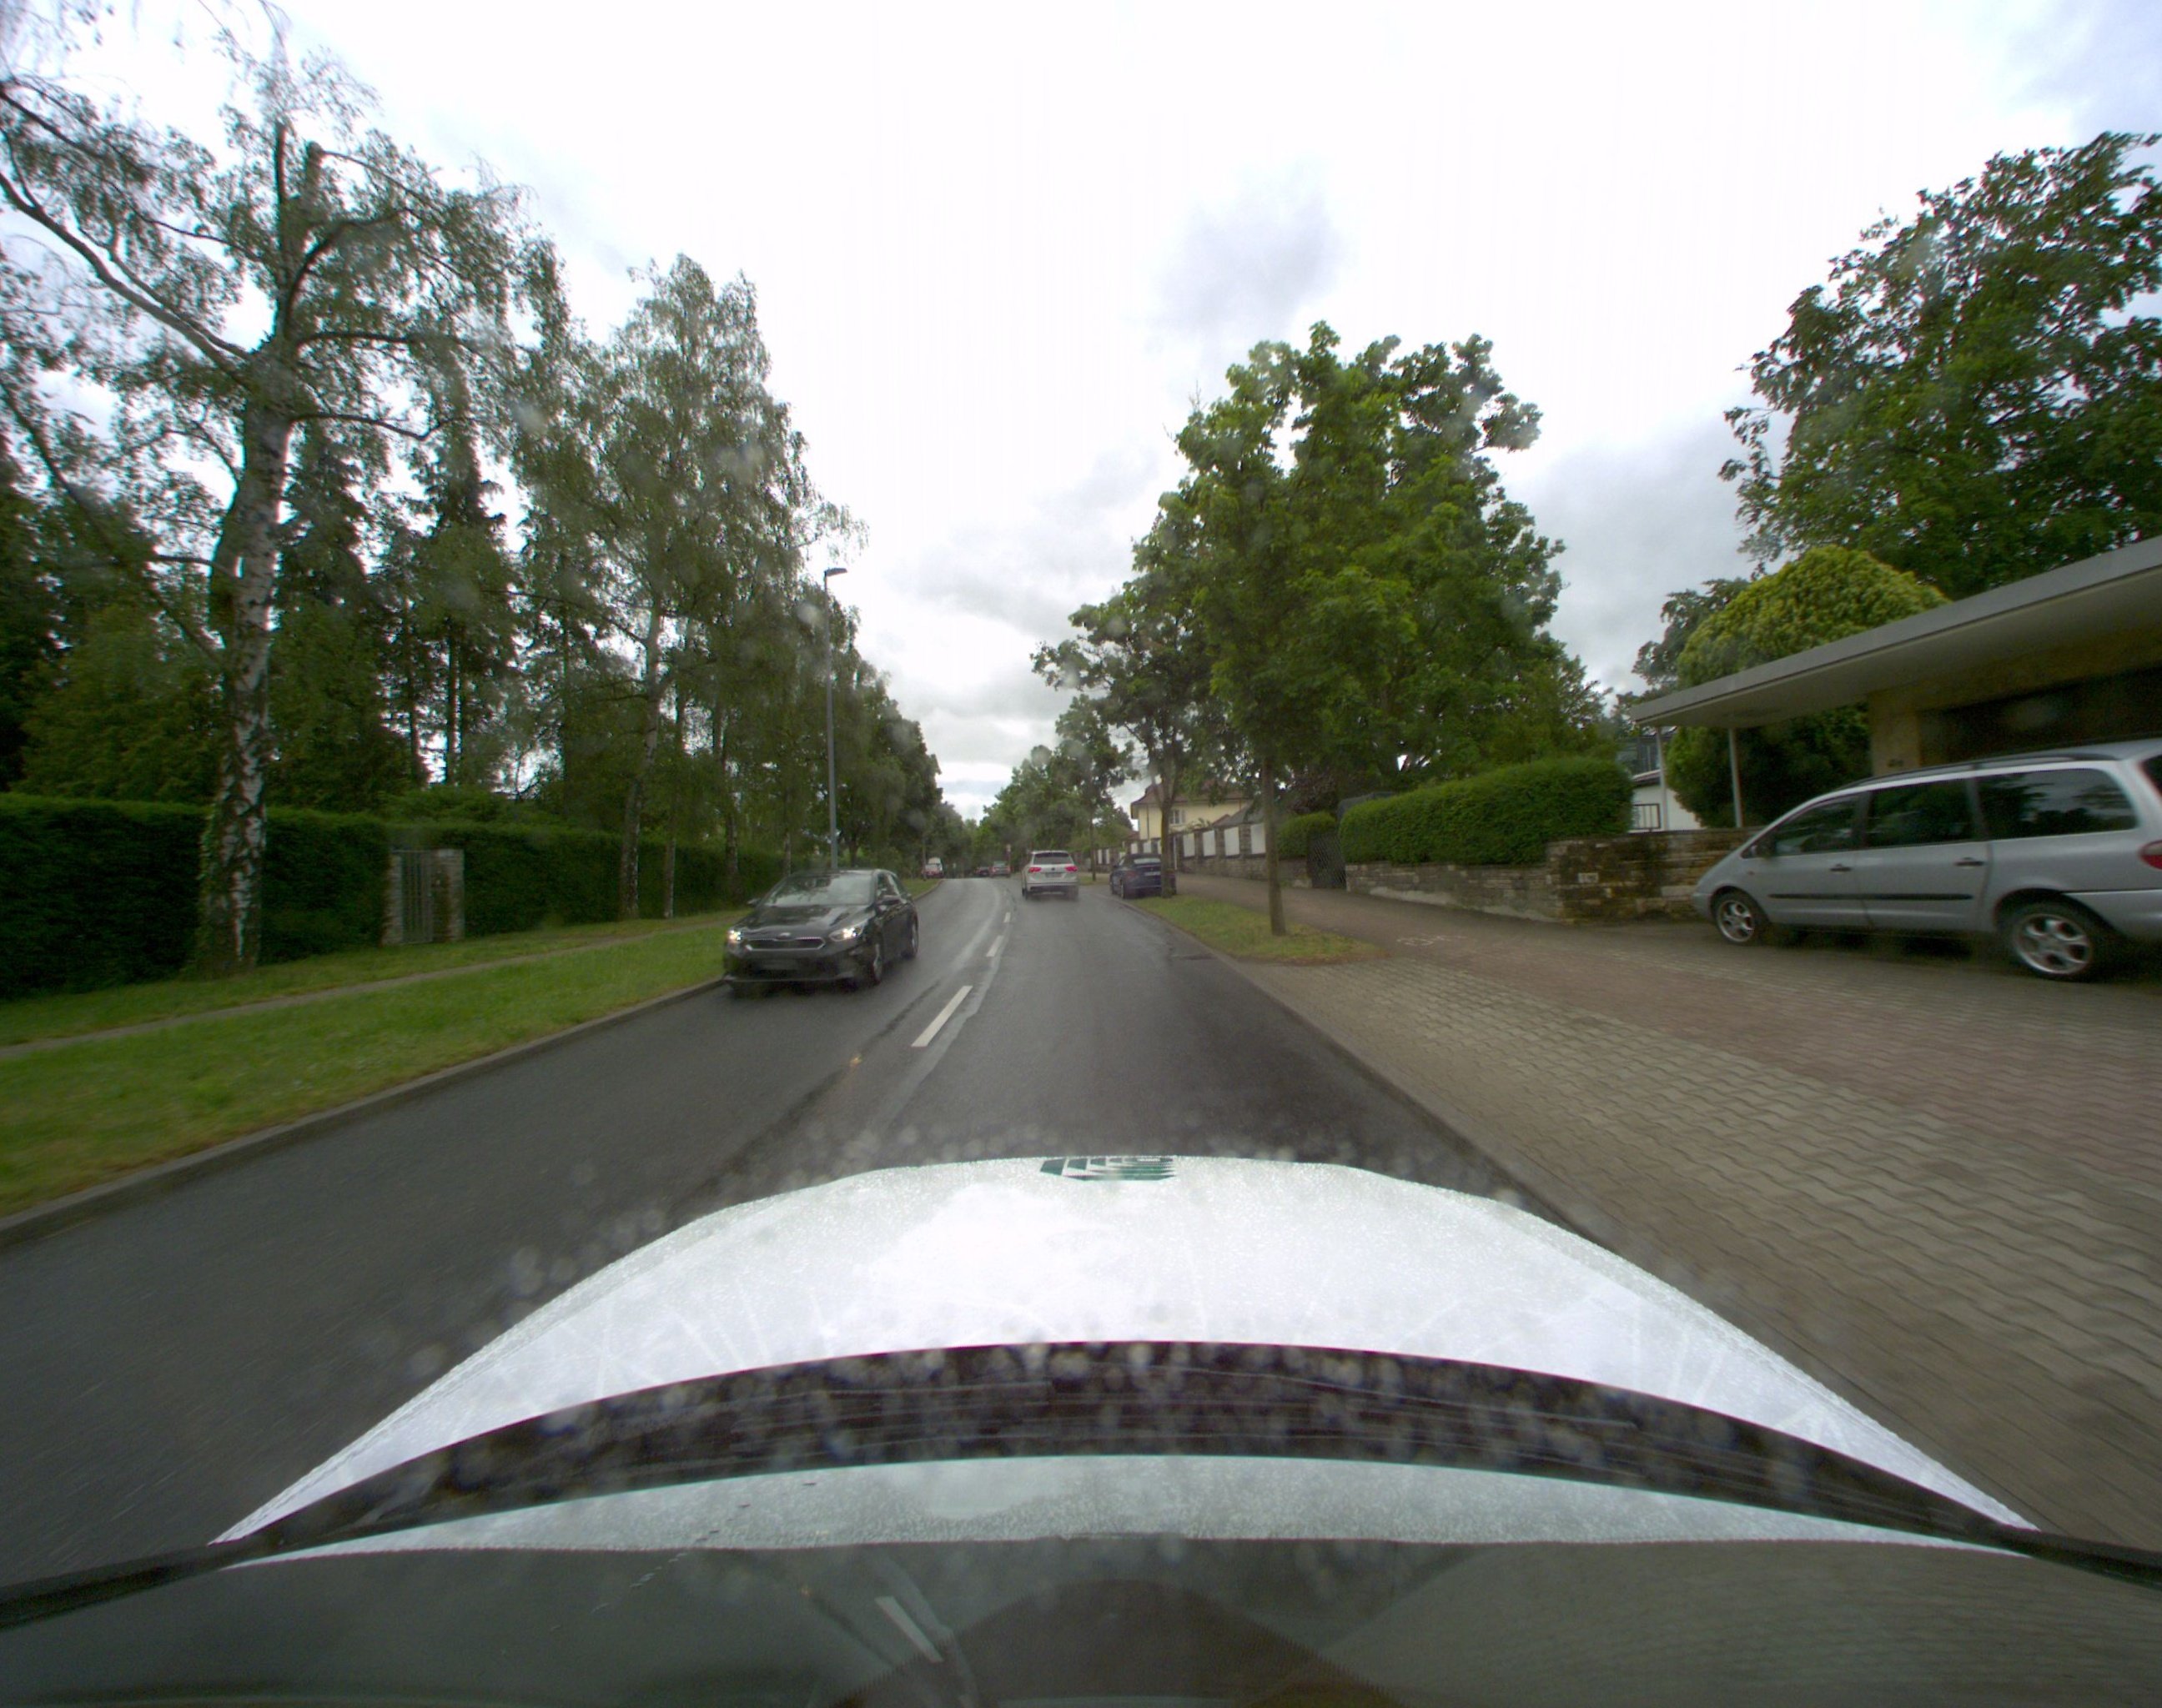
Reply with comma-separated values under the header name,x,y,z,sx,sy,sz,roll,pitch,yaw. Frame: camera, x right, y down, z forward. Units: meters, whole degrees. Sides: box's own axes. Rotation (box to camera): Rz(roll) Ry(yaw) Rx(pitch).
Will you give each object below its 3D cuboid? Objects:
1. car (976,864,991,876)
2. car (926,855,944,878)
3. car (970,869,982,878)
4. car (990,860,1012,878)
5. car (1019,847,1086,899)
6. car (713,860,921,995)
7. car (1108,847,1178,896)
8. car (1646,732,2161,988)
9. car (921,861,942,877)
name,x,y,z,sx,sy,sz,roll,pitch,yaw
car,-12.604,2.100,105.473,1.851,1.418,4.215,-1,0,-7
car,-17.456,1.555,97.519,1.994,2.561,5.214,-2,-1,-10
car,-16.713,3.097,130.108,1.851,1.418,4.215,-1,0,-7
car,-7.069,1.310,71.558,1.839,1.487,3.990,-1,0,-8
car,-1.085,0.614,28.926,1.995,1.632,3.991,-2,0,-7
car,-3.374,0.839,11.259,1.751,1.441,4.151,-1,0,-4
car,1.971,0.553,26.894,1.639,1.377,3.822,-4,0,-5
car,8.229,0.016,7.999,1.789,1.757,4.940,-3,0,-1
car,-14.109,1.419,77.004,1.843,1.466,4.235,-2,-1,-10
